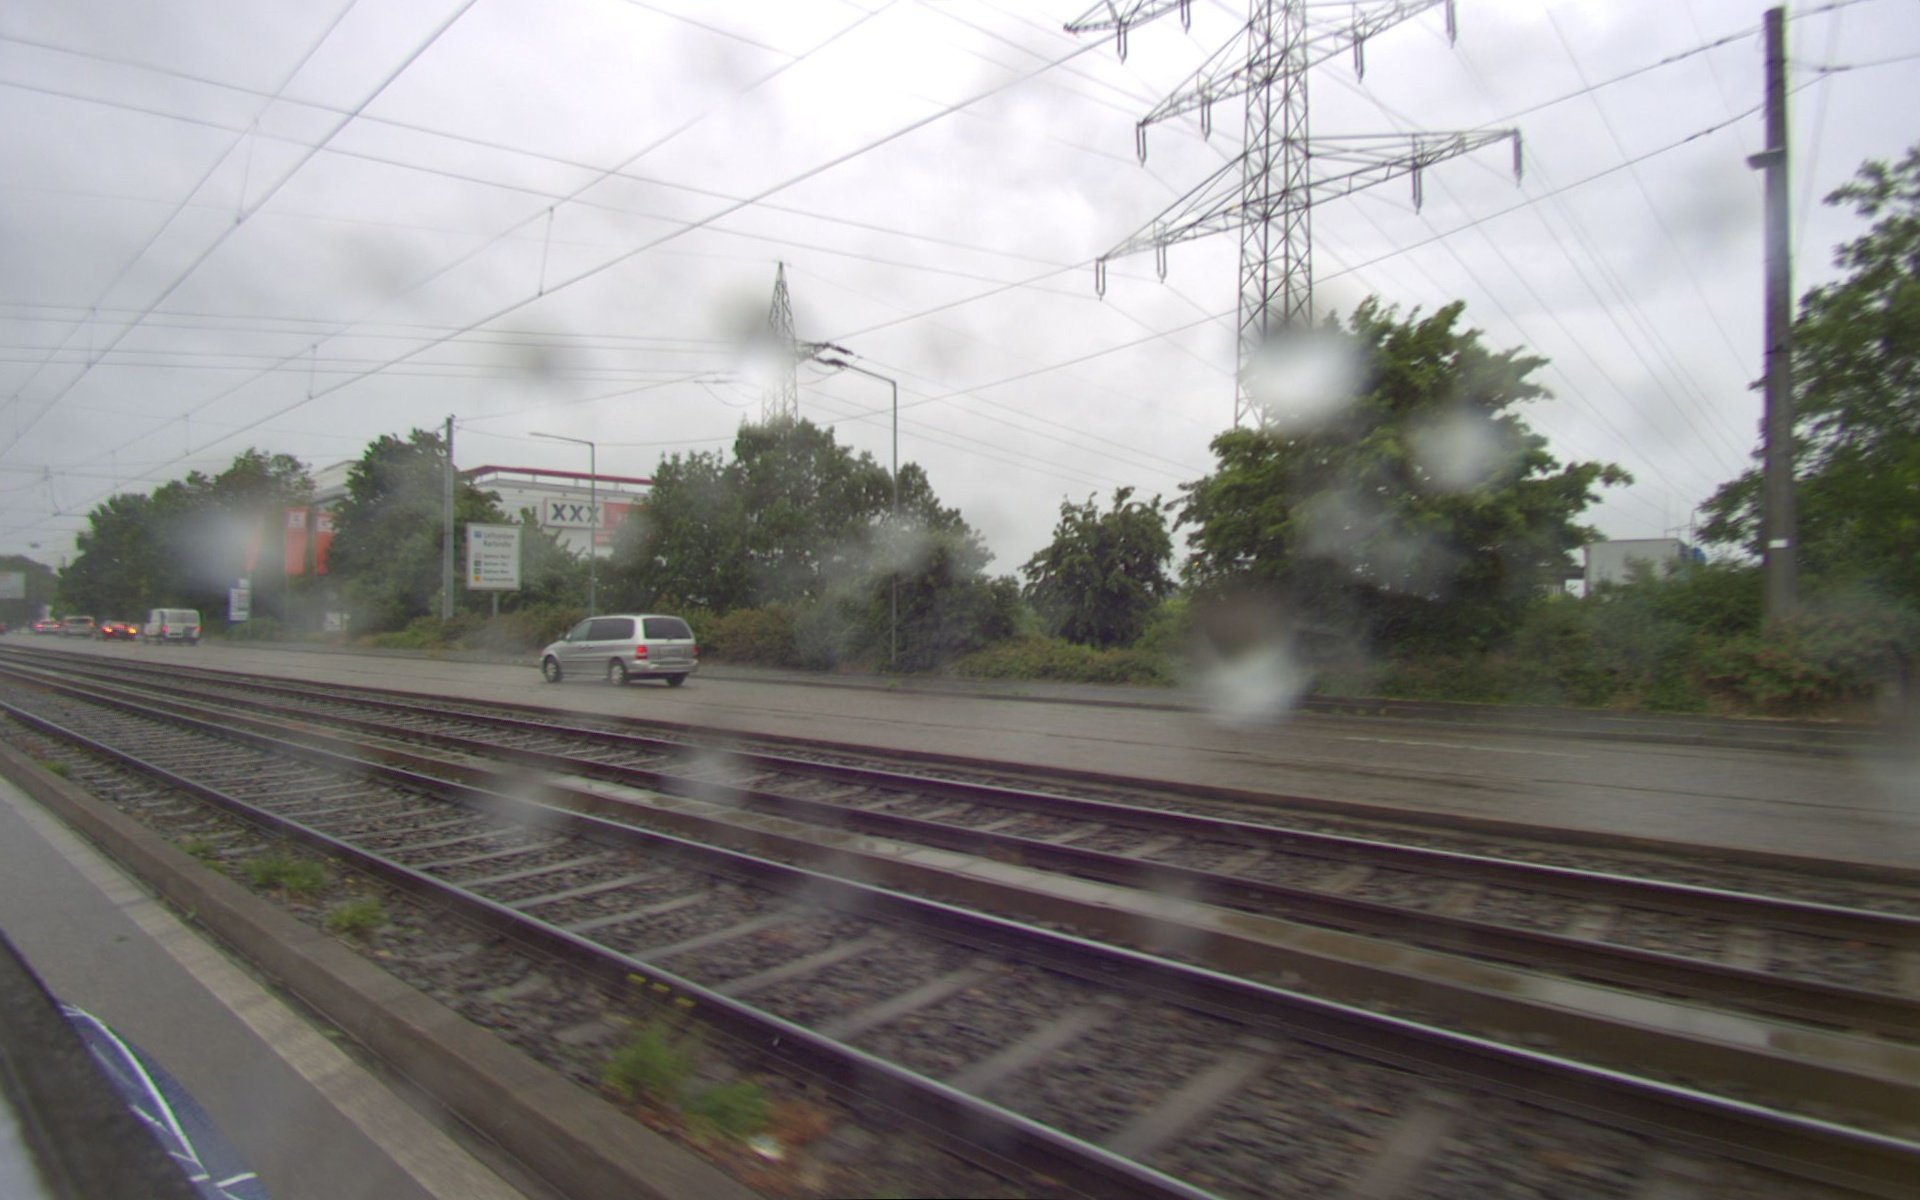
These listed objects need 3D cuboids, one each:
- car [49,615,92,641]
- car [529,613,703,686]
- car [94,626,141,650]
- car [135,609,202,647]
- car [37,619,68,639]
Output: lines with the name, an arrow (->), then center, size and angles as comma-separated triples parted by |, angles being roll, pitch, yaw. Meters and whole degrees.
car -> -76.014, 2.382, 86.500 | 4.726, 2.116, 2.069 | -2, -1, 40
car -> -8.829, 1.228, 25.730 | 5.133, 1.647, 1.806 | -2, -1, 41
car -> -62.890, 2.843, 75.546 | 4.726, 1.653, 1.877 | -2, -1, 40
car -> -51.353, 1.846, 65.622 | 5.979, 2.316, 2.128 | -2, -5, 41
car -> -93.873, 3.011, 104.638 | 3.997, 1.929, 1.844 | -2, -1, 40
